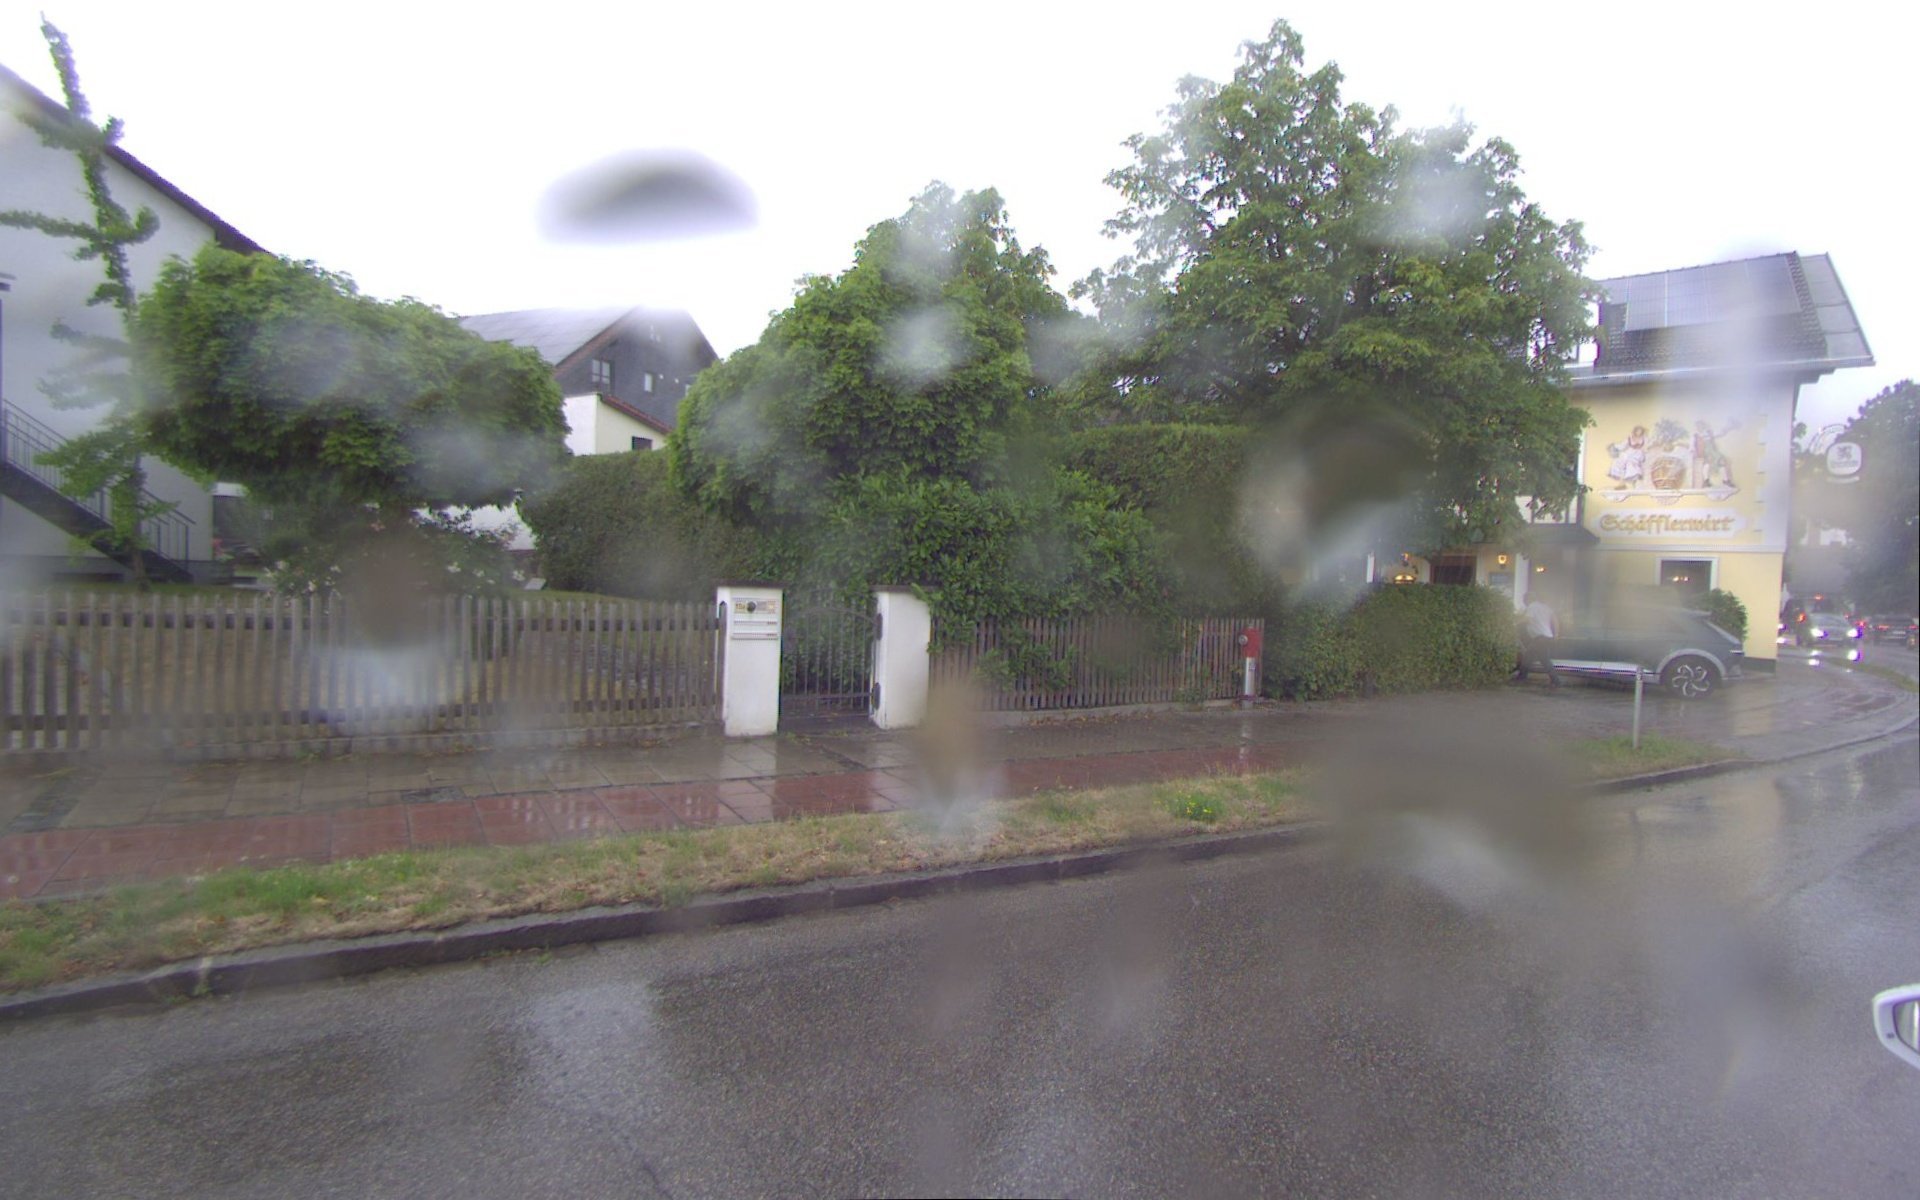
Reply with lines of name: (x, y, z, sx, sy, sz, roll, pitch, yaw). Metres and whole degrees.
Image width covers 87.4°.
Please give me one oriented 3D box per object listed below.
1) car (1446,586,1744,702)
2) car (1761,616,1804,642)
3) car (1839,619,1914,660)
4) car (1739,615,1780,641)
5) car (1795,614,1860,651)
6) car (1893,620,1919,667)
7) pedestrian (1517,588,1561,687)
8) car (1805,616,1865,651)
car: (11.701, 0.715, 18.817, 4.413, 1.589, 1.834, 6, 5, 32)
car: (67.585, 2.350, 82.562, 2.139, 1.925, 4.999, 3, 2, 33)
car: (49.520, 2.086, 54.393, 2.139, 1.925, 4.999, 3, 2, 33)
car: (53.859, 1.901, 67.740, 1.728, 1.700, 3.990, 0, -1, 32)
car: (43.402, 1.595, 50.357, 1.896, 1.767, 4.181, 0, -1, 33)
car: (44.376, 1.999, 45.546, 2.139, 1.925, 4.999, 3, 2, 33)
pedestrian: (10.354, 0.655, 17.984, 0.544, 1.712, 0.491, 5, 4, 29)
car: (55.469, 2.096, 63.793, 2.139, 1.925, 4.999, 3, 2, 33)
